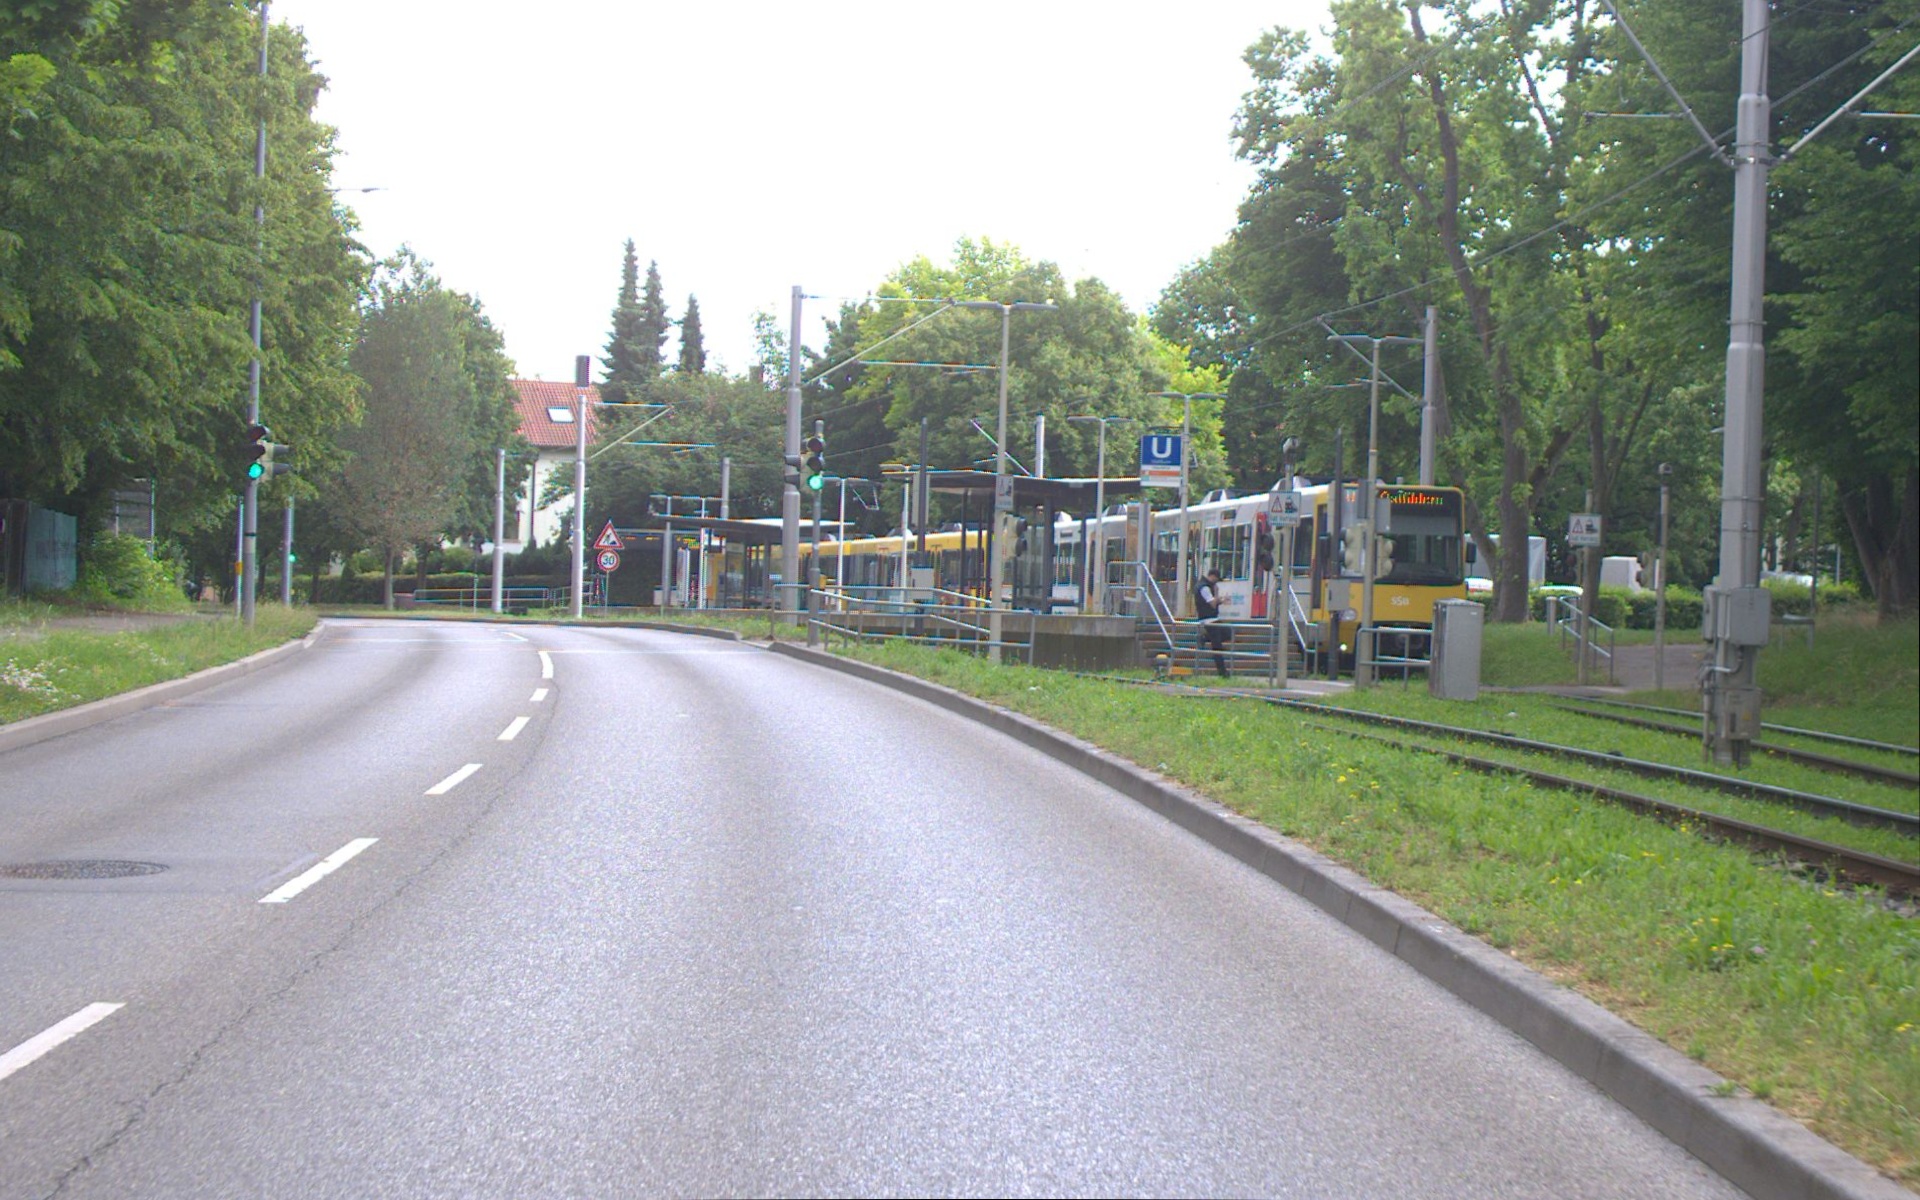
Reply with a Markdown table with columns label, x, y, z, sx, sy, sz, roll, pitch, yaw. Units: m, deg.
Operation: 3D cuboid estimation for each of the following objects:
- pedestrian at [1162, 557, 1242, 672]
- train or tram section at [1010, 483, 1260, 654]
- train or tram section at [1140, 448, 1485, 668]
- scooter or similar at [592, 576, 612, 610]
| label | x | y | z | sx | sy | sz | roll | pitch | yaw |
| --- | --- | --- | --- | --- | --- | --- | --- | --- | --- |
| pedestrian | 3.798 | 0.220 | 53.959 | 0.983 | 1.752 | 0.730 | 3 | 0 | -17 |
| train or tram section | 4.152 | -0.693 | 88.185 | 2.813 | 3.786 | 18.937 | 3 | -1 | -8 |
| train or tram section | 6.673 | -0.693 | 69.457 | 2.813 | 3.724 | 18.535 | 3 | -1 | -7 |
| scooter or similar | -13.880 | -0.273 | 133.185 | 0.430 | 1.249 | 1.255 | 0 | -2 | -23 |
